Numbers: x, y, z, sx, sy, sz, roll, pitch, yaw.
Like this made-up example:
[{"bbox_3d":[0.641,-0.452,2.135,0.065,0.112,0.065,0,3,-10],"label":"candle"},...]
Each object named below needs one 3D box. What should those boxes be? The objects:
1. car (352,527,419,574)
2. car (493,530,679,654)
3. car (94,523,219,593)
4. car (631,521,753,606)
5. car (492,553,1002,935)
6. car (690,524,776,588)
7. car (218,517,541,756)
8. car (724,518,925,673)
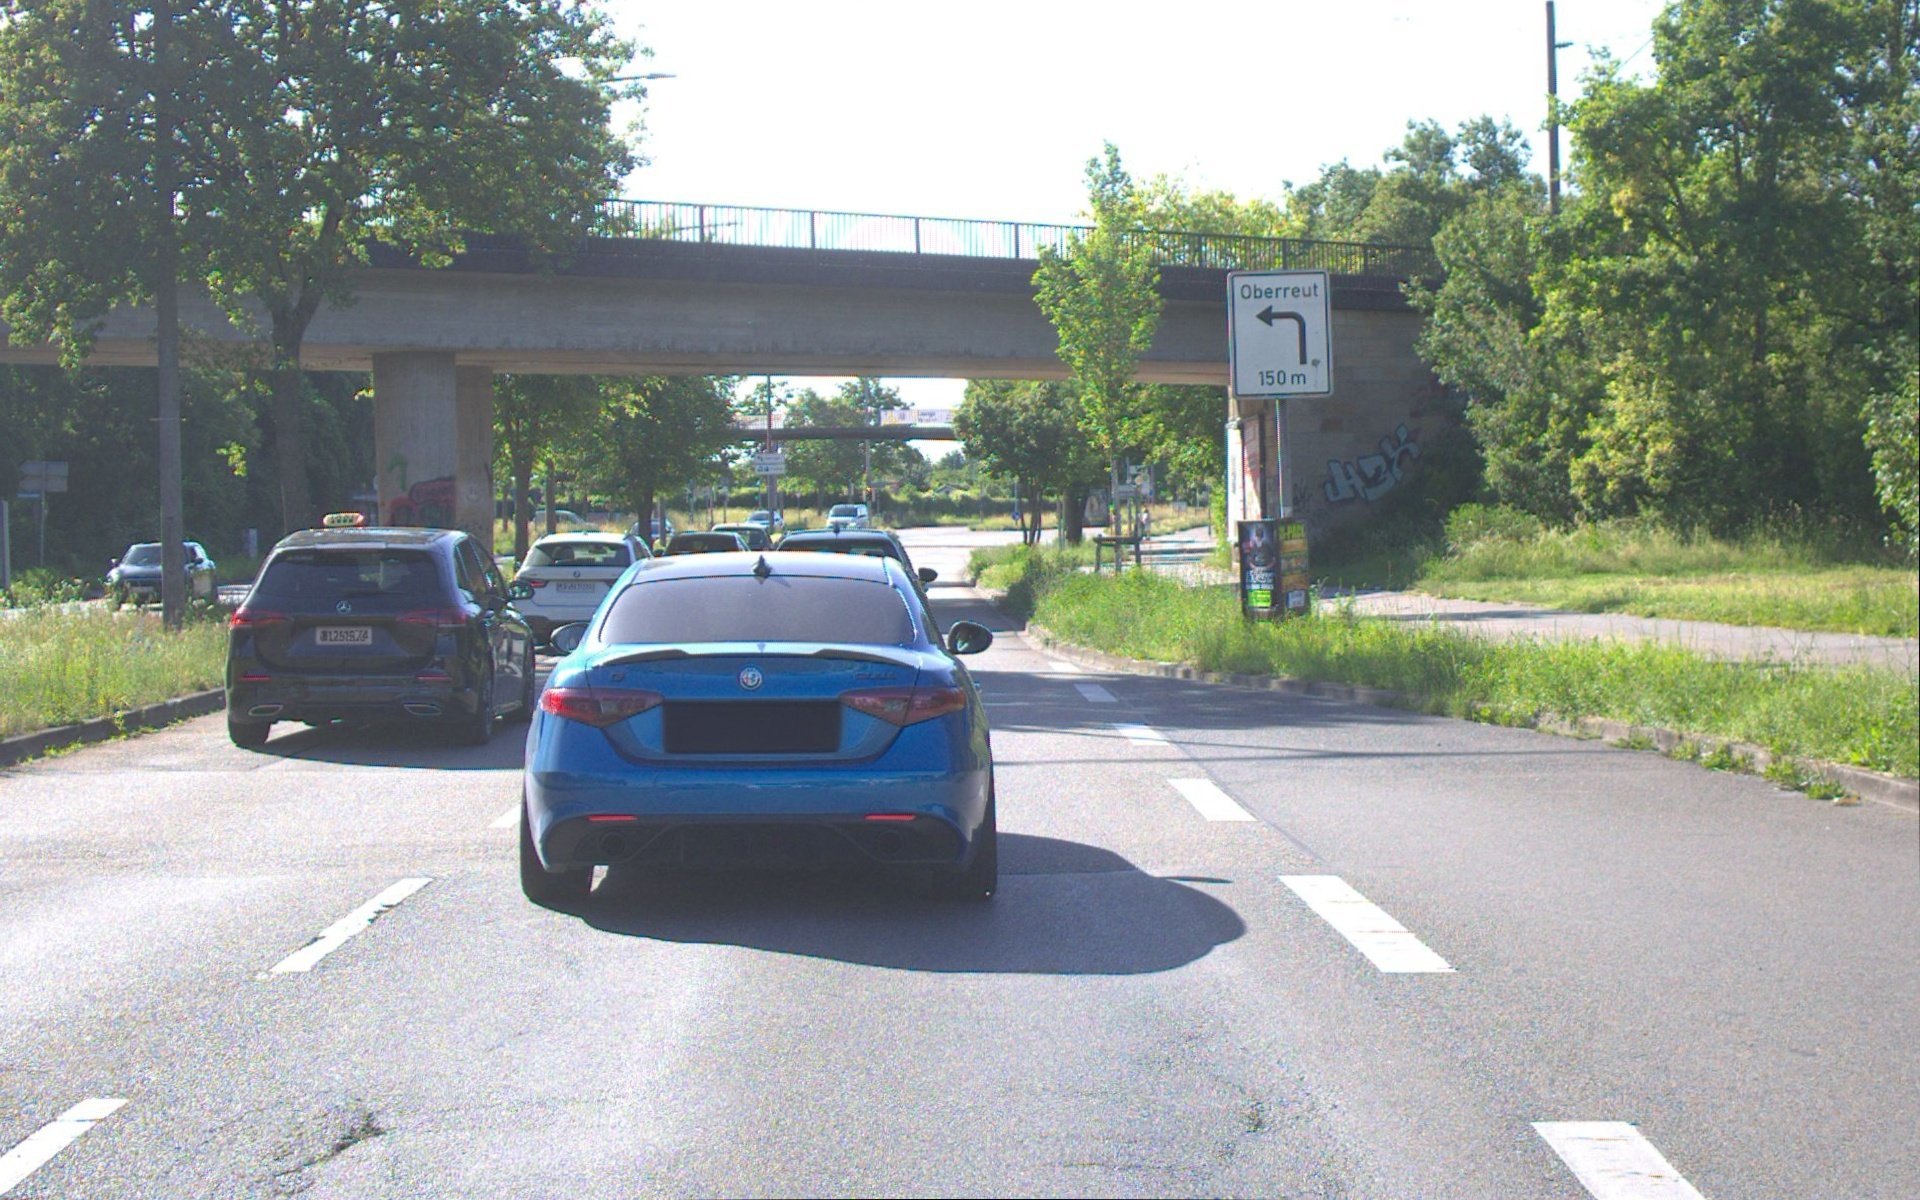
[{"bbox_3d":[-20.901,-1.797,125.197,1.729,1.611,4.180,-2,1,-1],"label":"car"},{"bbox_3d":[-4.599,-0.131,42.833,1.883,1.449,4.527,0,1,-1],"label":"car"},{"bbox_3d":[-17.548,-0.930,75.245,1.816,1.437,4.090,-1,1,-1],"label":"car"},{"bbox_3d":[-4.728,-0.664,61.205,1.883,1.449,4.527,0,1,-1],"label":"car"},{"bbox_3d":[-0.825,0.507,14.888,1.883,1.401,4.224,0,1,-1],"label":"car"},{"bbox_3d":[-5.305,-1.056,80.833,1.779,1.449,4.182,-1,1,-1],"label":"car"},{"bbox_3d":[-4.144,0.212,25.139,1.708,1.592,4.224,0,1,-1],"label":"car"},{"bbox_3d":[-1.314,-0.077,34.636,1.883,1.449,4.527,0,1,-1],"label":"car"}]
